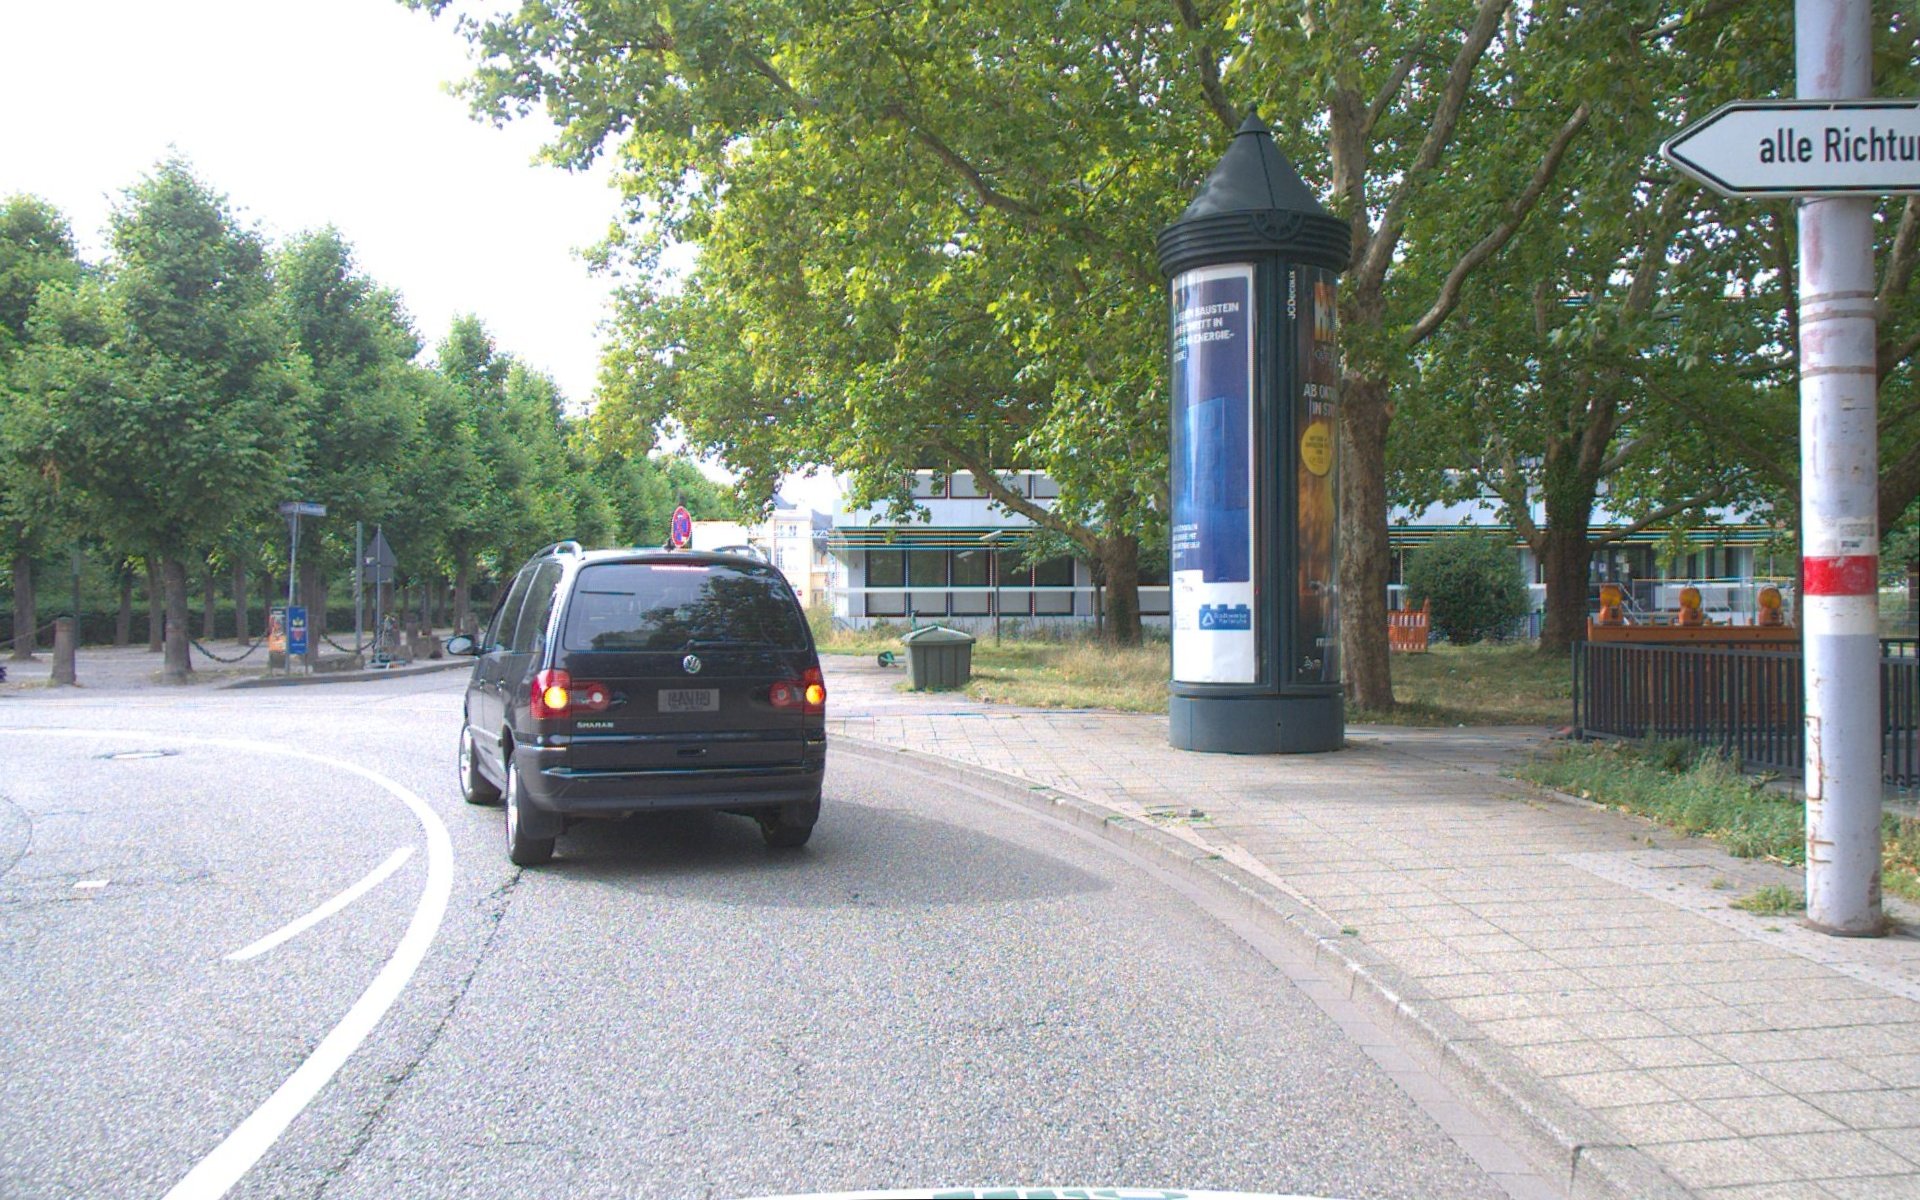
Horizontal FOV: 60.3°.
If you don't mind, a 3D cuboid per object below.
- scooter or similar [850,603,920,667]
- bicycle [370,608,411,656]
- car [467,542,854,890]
[{"bbox_3d":[-1.584,0.736,34.945,1.422,1.291,0.569,1,0,-7],"label":"scooter or similar"},{"bbox_3d":[-14.468,0.792,41.991,0.938,1.129,2.565,1,0,-19],"label":"bicycle"},{"bbox_3d":[-2.092,0.564,10.494,1.767,1.738,4.107,-1,0,-20],"label":"car"}]
